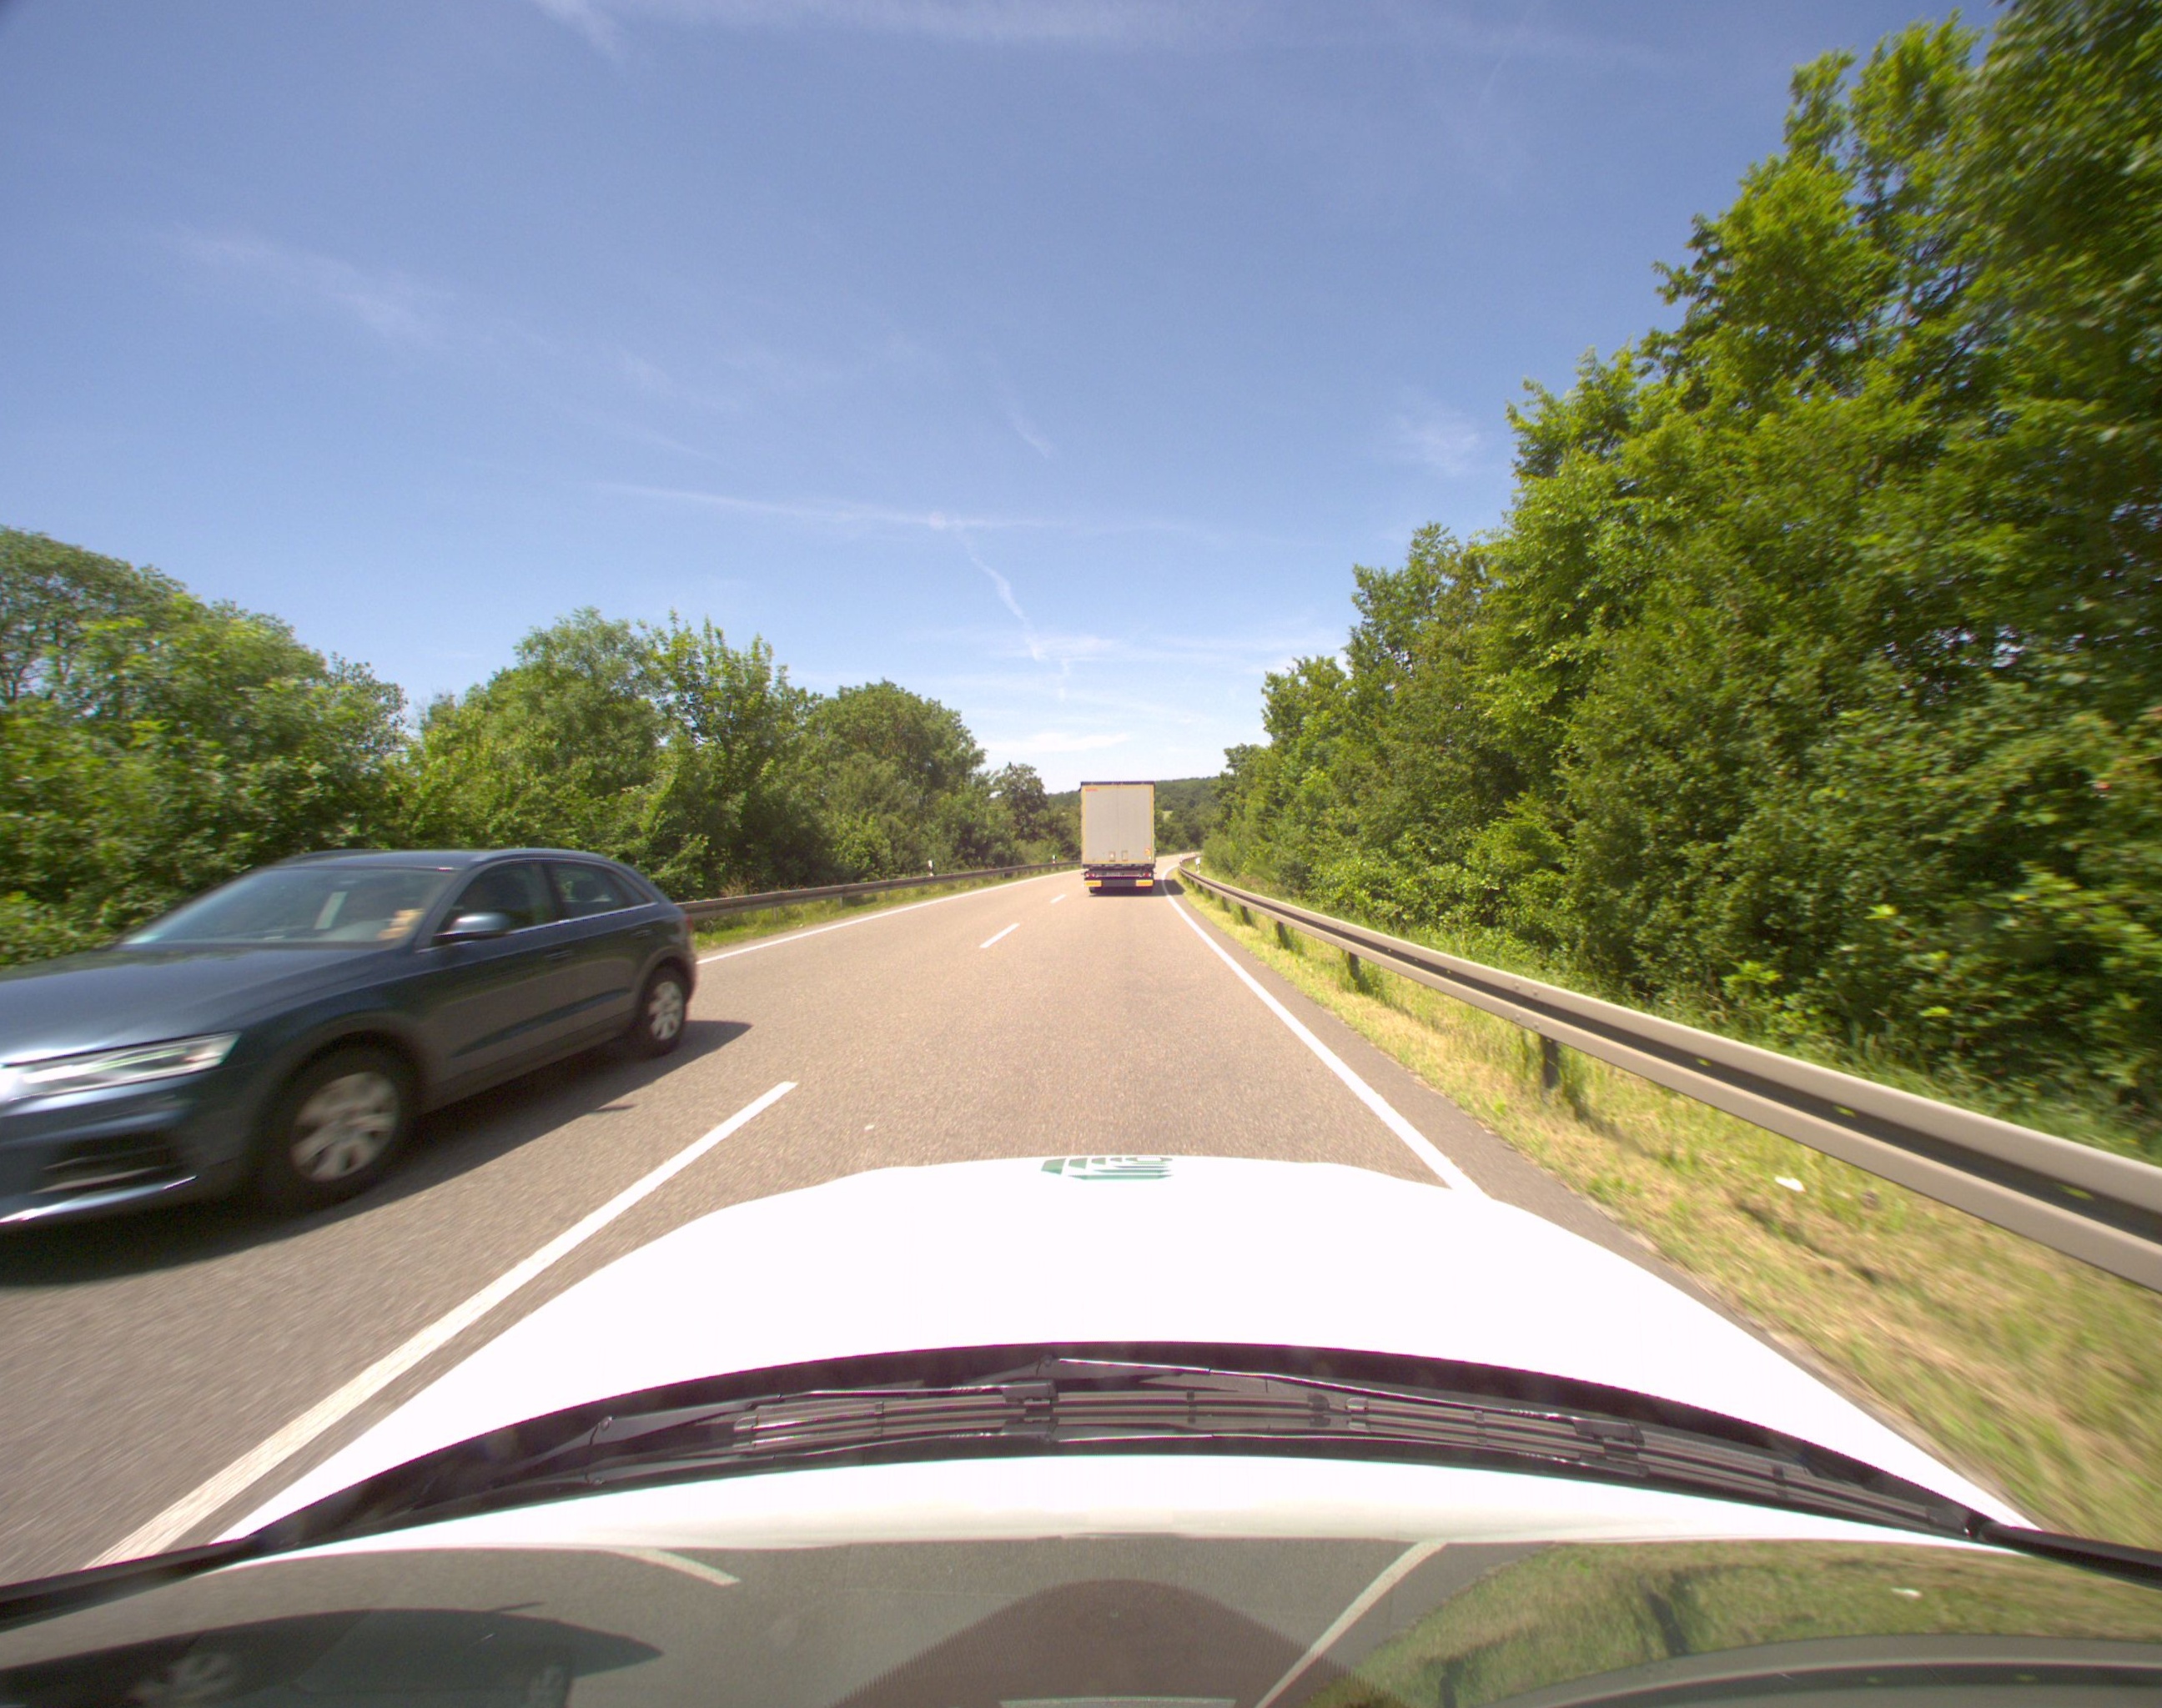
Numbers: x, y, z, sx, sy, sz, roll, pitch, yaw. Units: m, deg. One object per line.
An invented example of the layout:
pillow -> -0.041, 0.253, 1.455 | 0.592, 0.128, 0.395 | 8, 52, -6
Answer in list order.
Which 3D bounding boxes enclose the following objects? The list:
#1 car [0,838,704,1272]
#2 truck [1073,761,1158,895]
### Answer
car -> -4.119, 0.716, 4.824 | 1.857, 1.527, 3.892 | -1, 0, 1
truck -> 1.610, -0.904, 33.742 | 2.805, 4.532, 11.781 | -1, 0, 4
